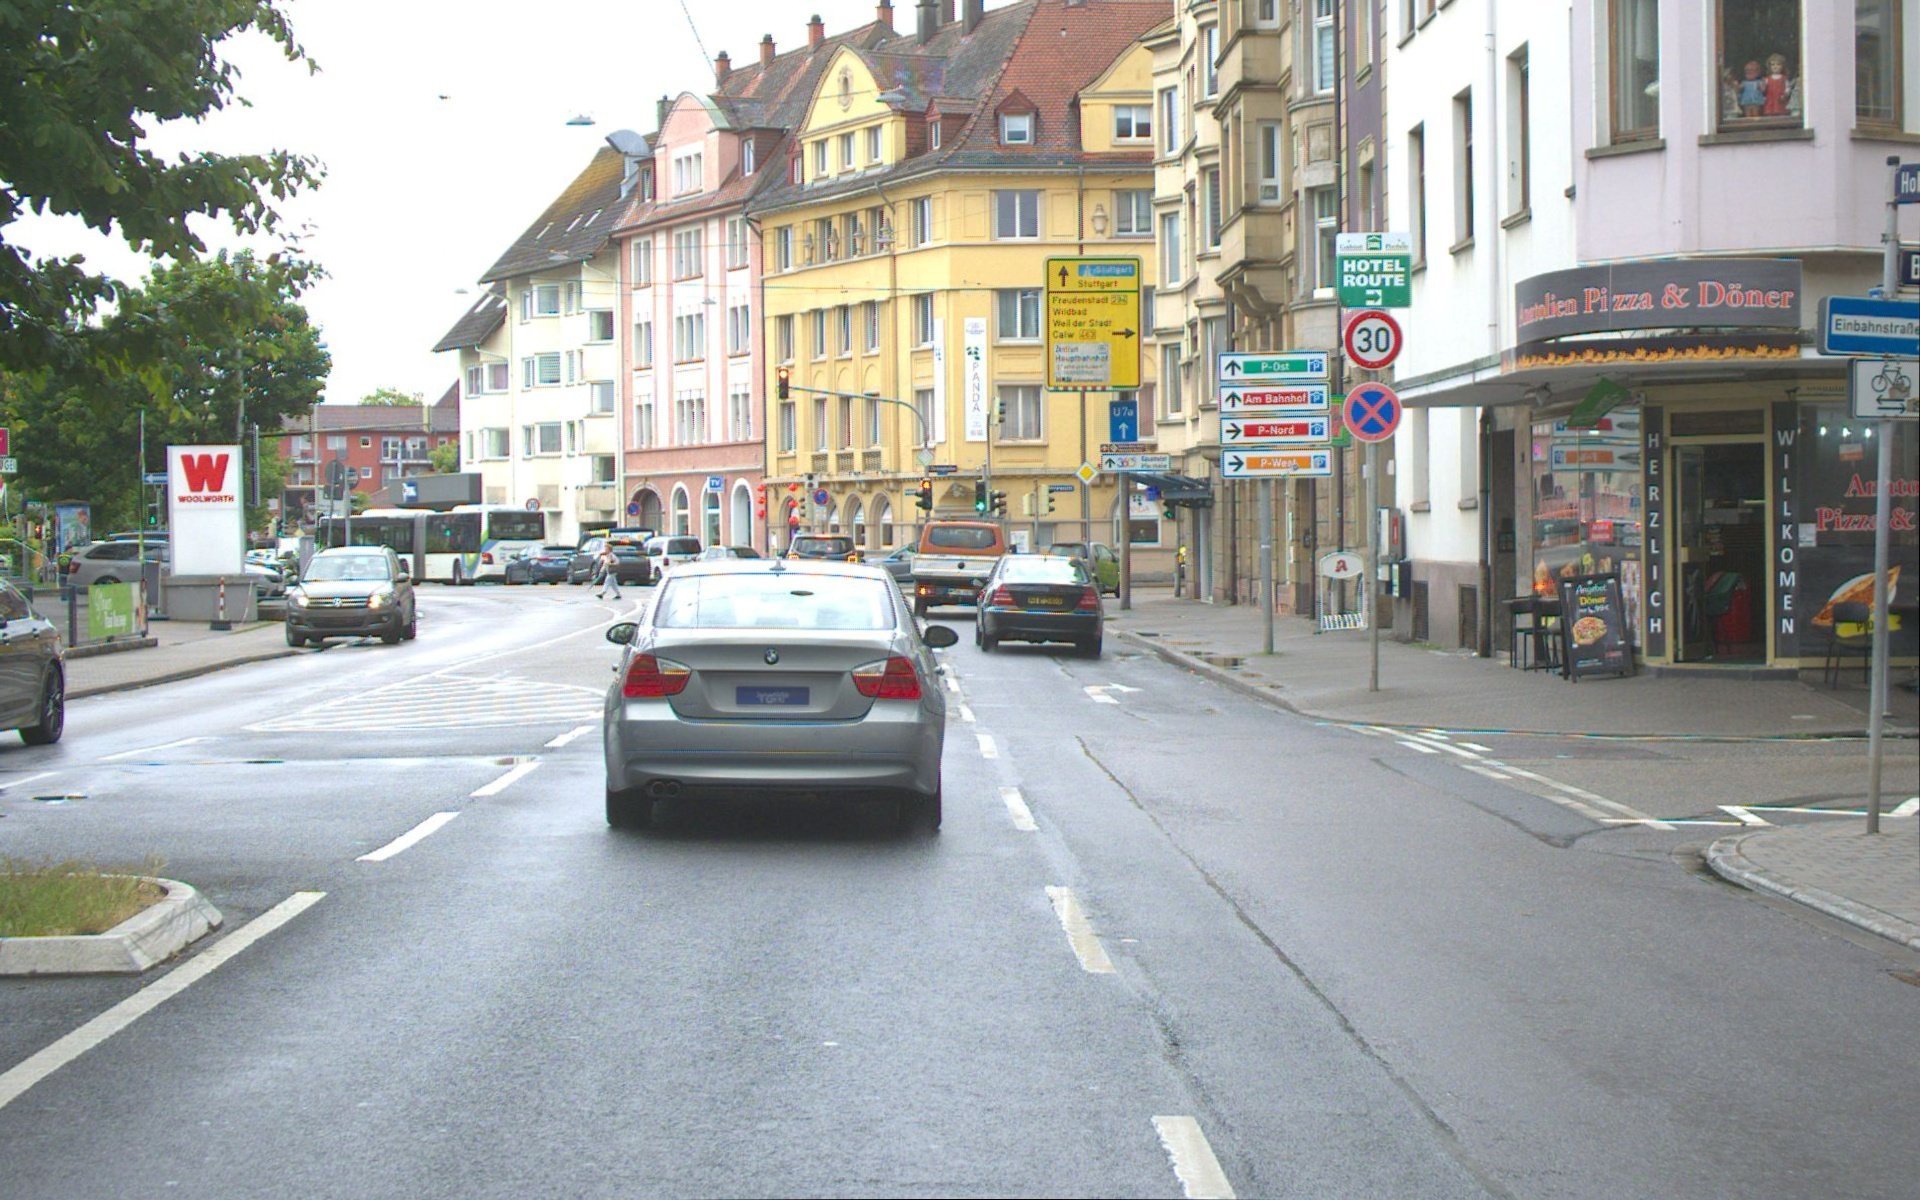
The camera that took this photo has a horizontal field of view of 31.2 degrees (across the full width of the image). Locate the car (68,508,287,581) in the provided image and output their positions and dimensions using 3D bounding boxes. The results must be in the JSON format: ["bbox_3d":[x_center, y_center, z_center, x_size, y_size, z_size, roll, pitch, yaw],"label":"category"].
[{"bbox_3d":[-16.947,-1.211,74.653,4.444,1.521,1.886,1,1,-6],"label":"car"}]

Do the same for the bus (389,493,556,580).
[{"bbox_3d":[-18.159,-2.366,127.554,2.908,3.094,9.144,-2,2,-30],"label":"bus"}]

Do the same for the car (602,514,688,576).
[{"bbox_3d":[-11.728,-2.062,127.816,1.761,2.173,4.001,2,0,-27],"label":"car"}]

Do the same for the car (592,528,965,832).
[{"bbox_3d":[-0.978,0.390,18.930,1.799,1.459,4.371,1,0,-3],"label":"car"}]

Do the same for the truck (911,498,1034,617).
[{"bbox_3d":[0.195,-0.847,67.774,2.224,2.242,5.063,0,1,-2],"label":"truck"}]

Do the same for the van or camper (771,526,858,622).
[{"bbox_3d":[-3.362,-0.614,78.970,1.854,2.139,4.143,0,1,-4],"label":"van or camper"}]

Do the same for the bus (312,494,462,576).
[{"bbox_3d":[-22.650,-2.575,135.465,2.908,3.094,8.872,-2,2,-29],"label":"bus"}]

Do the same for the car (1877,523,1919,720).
[{"bbox_3d":[9.855,0.167,28.232,4.106,1.602,1.806,0,-1,-7],"label":"car"}]

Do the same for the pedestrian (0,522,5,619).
[{"bbox_3d":[-16.987,-0.502,59.199,0.754,1.679,0.746,0,2,44],"label":"pedestrian"}]

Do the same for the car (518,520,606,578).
[{"bbox_3d":[-13.890,-1.783,119.767,1.993,2.007,4.001,-1,1,-23],"label":"car"}]

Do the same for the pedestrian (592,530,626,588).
[{"bbox_3d":[-9.218,-1.074,90.299,0.760,1.524,0.508,1,0,-22],"label":"pedestrian"}]

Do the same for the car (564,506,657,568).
[{"bbox_3d":[-11.609,-2.096,113.989,1.993,2.007,4.001,-1,1,-22],"label":"car"}]

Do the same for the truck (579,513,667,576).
[{"bbox_3d":[-13.120,-2.177,133.664,2.026,2.381,4.237,0,1,-27],"label":"truck"}]

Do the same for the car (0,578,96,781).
[{"bbox_3d":[-7.940,0.574,25.545,2.013,1.421,4.500,0,1,-1],"label":"car"}]

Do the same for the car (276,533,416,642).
[{"bbox_3d":[-10.370,-0.242,57.842,1.948,1.653,4.058,-4,2,-14],"label":"car"}]

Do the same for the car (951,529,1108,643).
[{"bbox_3d":[0.951,-0.207,49.139,1.799,1.558,4.001,0,0,-5],"label":"car"}]

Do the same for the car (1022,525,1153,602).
[{"bbox_3d":[3.462,-0.992,92.706,1.997,2.007,3.994,1,1,28],"label":"car"}]
